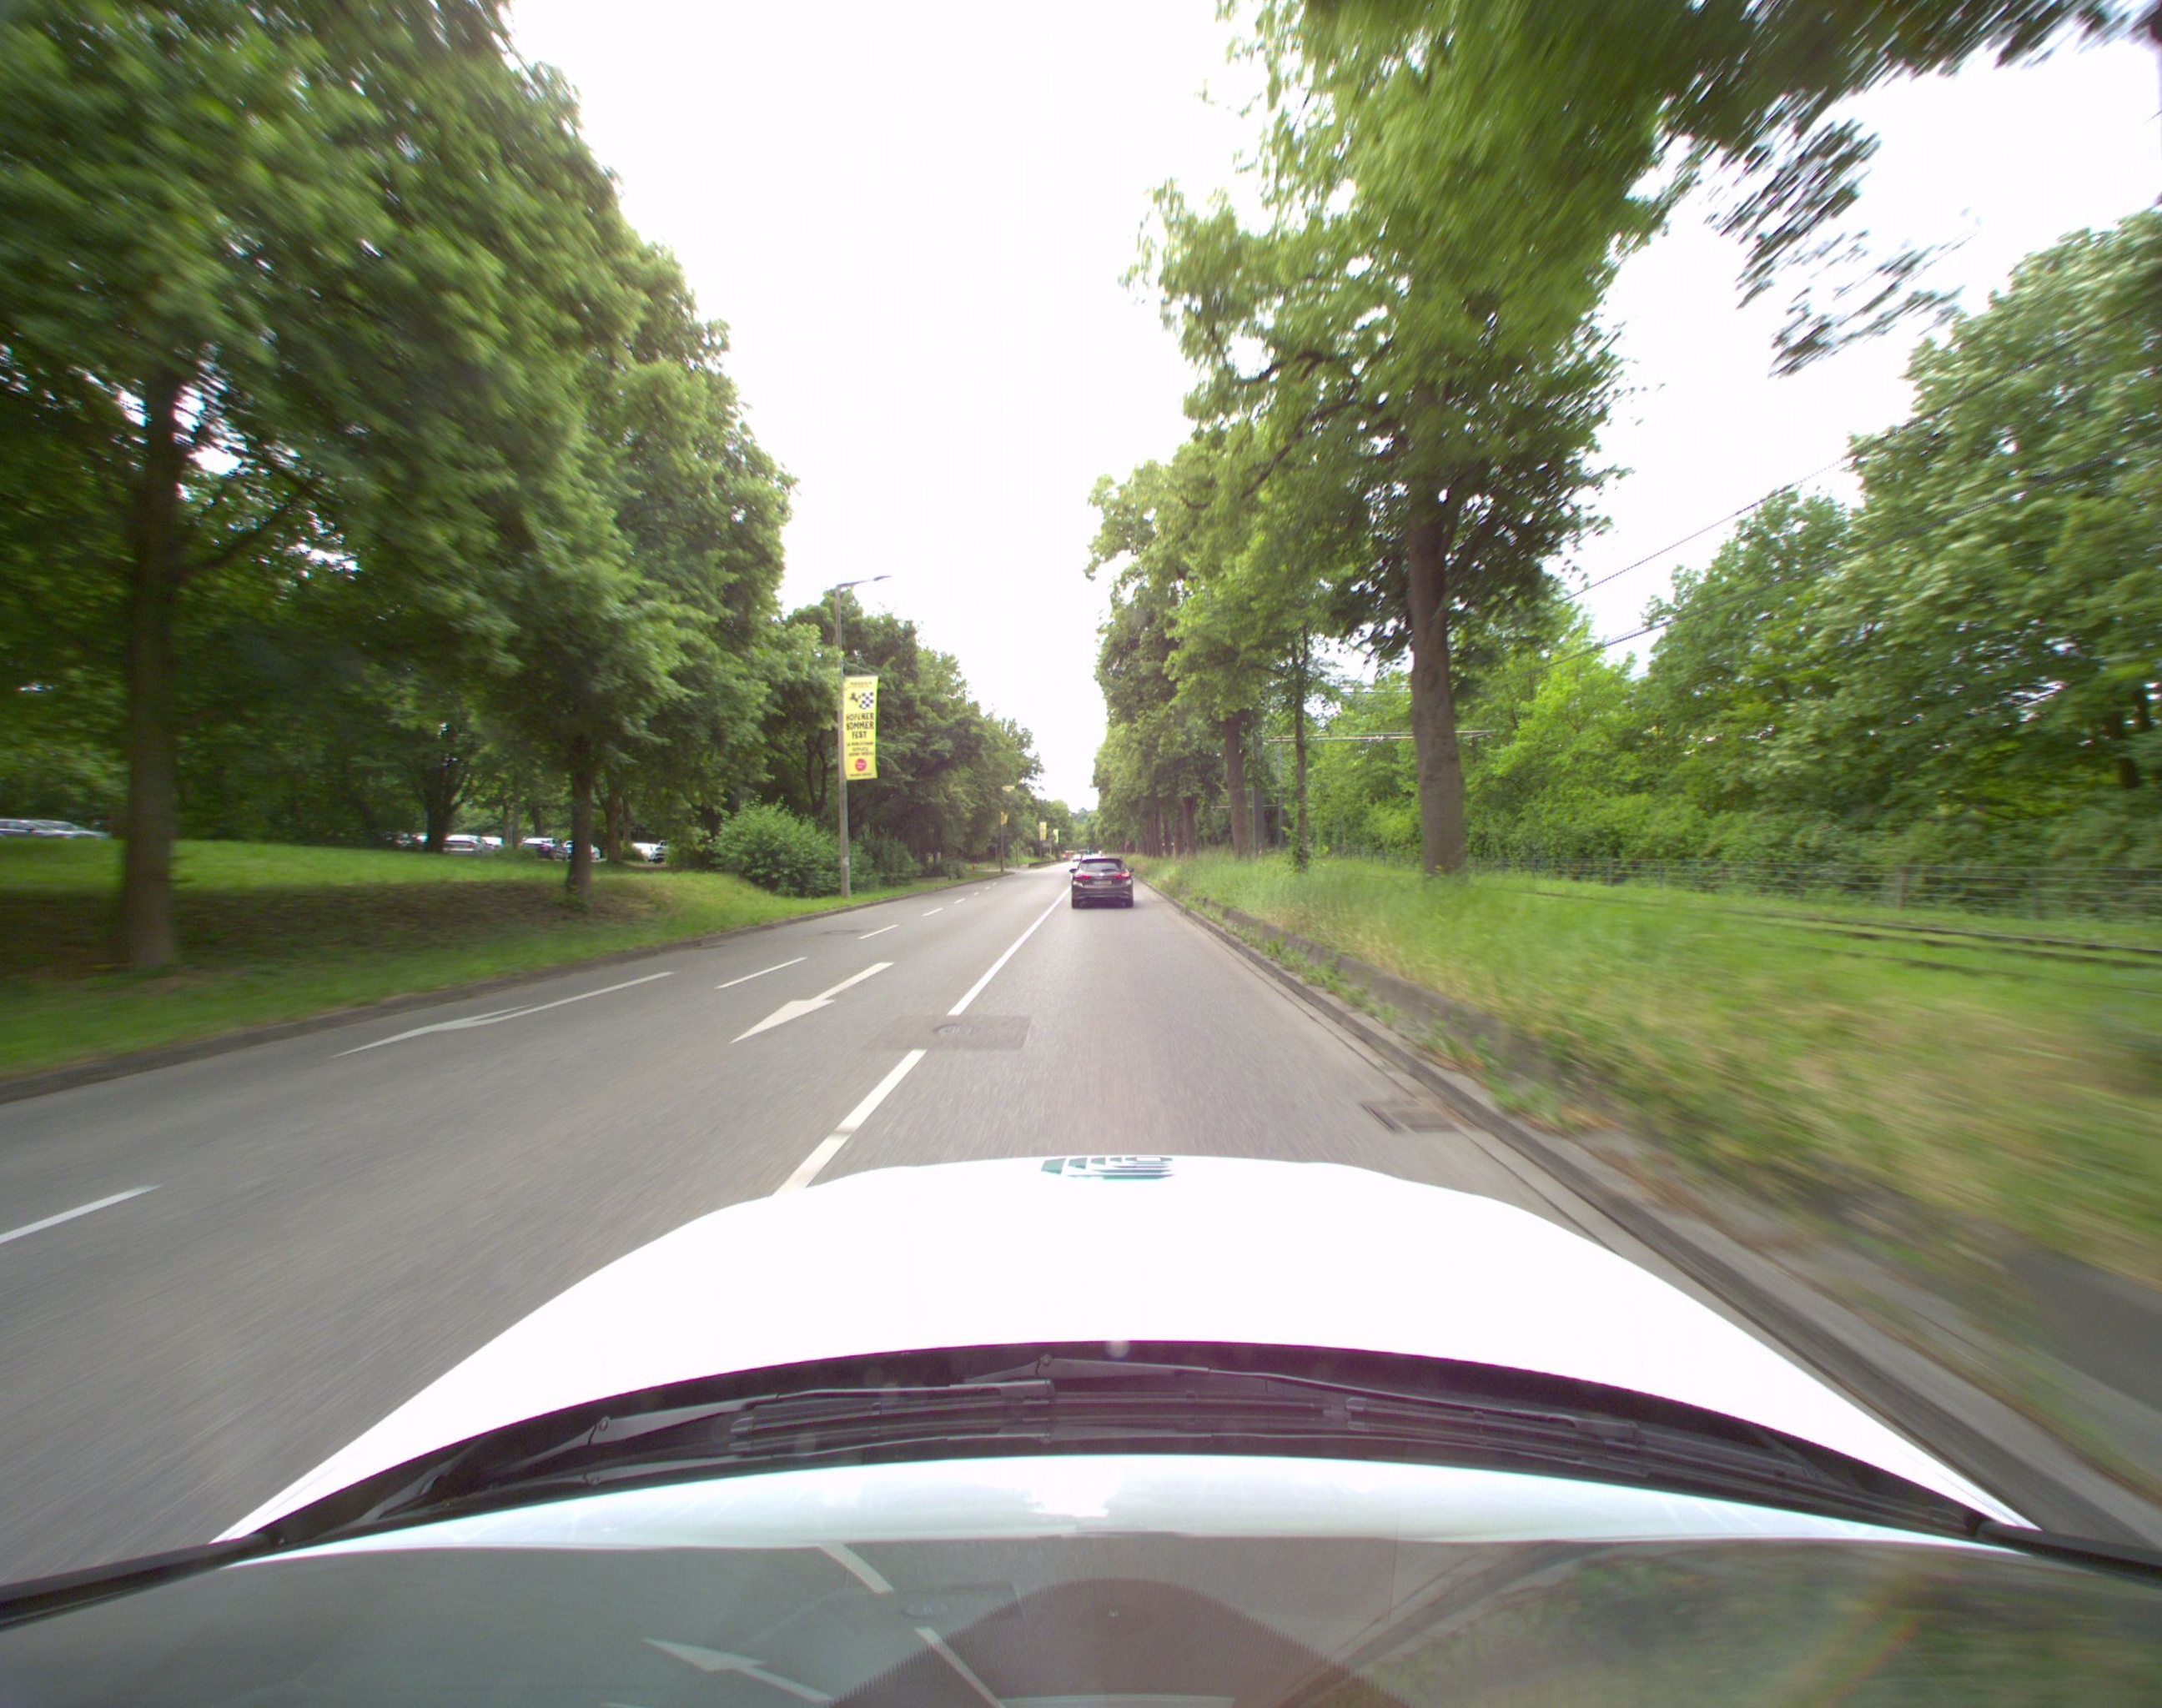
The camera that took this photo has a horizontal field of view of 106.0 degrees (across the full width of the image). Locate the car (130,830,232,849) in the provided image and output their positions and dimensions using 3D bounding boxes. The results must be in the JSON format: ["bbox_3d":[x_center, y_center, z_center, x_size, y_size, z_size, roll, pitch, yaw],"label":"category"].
[{"bbox_3d":[-58.843,-0.922,53.343,3.990,1.210,1.888,0,0,-24],"label":"car"}]

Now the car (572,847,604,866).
[{"bbox_3d":[-40.374,0.201,66.823,1.653,1.486,3.970,0,0,-22],"label":"car"}]

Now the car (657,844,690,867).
[{"bbox_3d":[-27.133,0.129,54.267,1.653,1.486,3.970,0,0,-22],"label":"car"}]

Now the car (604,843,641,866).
[{"bbox_3d":[-29.911,0.051,53.210,1.653,1.486,3.970,0,0,-22],"label":"car"}]

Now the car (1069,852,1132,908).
[{"bbox_3d":[0.573,0.727,24.256,1.724,1.537,3.552,0,0,1],"label":"car"}]

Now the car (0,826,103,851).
[{"bbox_3d":[-53.875,-0.788,41.986,3.990,1.210,1.888,0,0,-24],"label":"car"}]

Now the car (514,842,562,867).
[{"bbox_3d":[-33.336,0.056,50.083,1.653,1.486,3.970,0,0,-22],"label":"car"}]

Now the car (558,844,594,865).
[{"bbox_3d":[-37.791,0.052,60.969,1.653,1.486,3.970,0,0,-22],"label":"car"}]

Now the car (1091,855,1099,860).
[{"bbox_3d":[4.063,1.113,237.927,1.562,1.441,3.538,0,0,-11],"label":"car"}]

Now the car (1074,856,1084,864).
[{"bbox_3d":[-0.365,1.139,163.071,1.709,1.428,4.200,-3,0,3],"label":"car"}]

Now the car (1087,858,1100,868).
[{"bbox_3d":[2.018,1.408,127.237,1.552,1.441,3.560,0,0,9],"label":"car"}]

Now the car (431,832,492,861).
[{"bbox_3d":[-33.733,-0.383,44.424,1.653,1.486,3.970,0,0,-22],"label":"car"}]

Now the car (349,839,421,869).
[{"bbox_3d":[-36.173,0.030,42.444,1.653,1.486,3.970,0,0,-22],"label":"car"}]

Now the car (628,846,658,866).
[{"bbox_3d":[-33.650,0.132,62.676,1.653,1.486,3.970,0,0,-22],"label":"car"}]

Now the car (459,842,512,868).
[{"bbox_3d":[-36.012,0.069,49.356,1.653,1.486,3.970,0,0,-22],"label":"car"}]
